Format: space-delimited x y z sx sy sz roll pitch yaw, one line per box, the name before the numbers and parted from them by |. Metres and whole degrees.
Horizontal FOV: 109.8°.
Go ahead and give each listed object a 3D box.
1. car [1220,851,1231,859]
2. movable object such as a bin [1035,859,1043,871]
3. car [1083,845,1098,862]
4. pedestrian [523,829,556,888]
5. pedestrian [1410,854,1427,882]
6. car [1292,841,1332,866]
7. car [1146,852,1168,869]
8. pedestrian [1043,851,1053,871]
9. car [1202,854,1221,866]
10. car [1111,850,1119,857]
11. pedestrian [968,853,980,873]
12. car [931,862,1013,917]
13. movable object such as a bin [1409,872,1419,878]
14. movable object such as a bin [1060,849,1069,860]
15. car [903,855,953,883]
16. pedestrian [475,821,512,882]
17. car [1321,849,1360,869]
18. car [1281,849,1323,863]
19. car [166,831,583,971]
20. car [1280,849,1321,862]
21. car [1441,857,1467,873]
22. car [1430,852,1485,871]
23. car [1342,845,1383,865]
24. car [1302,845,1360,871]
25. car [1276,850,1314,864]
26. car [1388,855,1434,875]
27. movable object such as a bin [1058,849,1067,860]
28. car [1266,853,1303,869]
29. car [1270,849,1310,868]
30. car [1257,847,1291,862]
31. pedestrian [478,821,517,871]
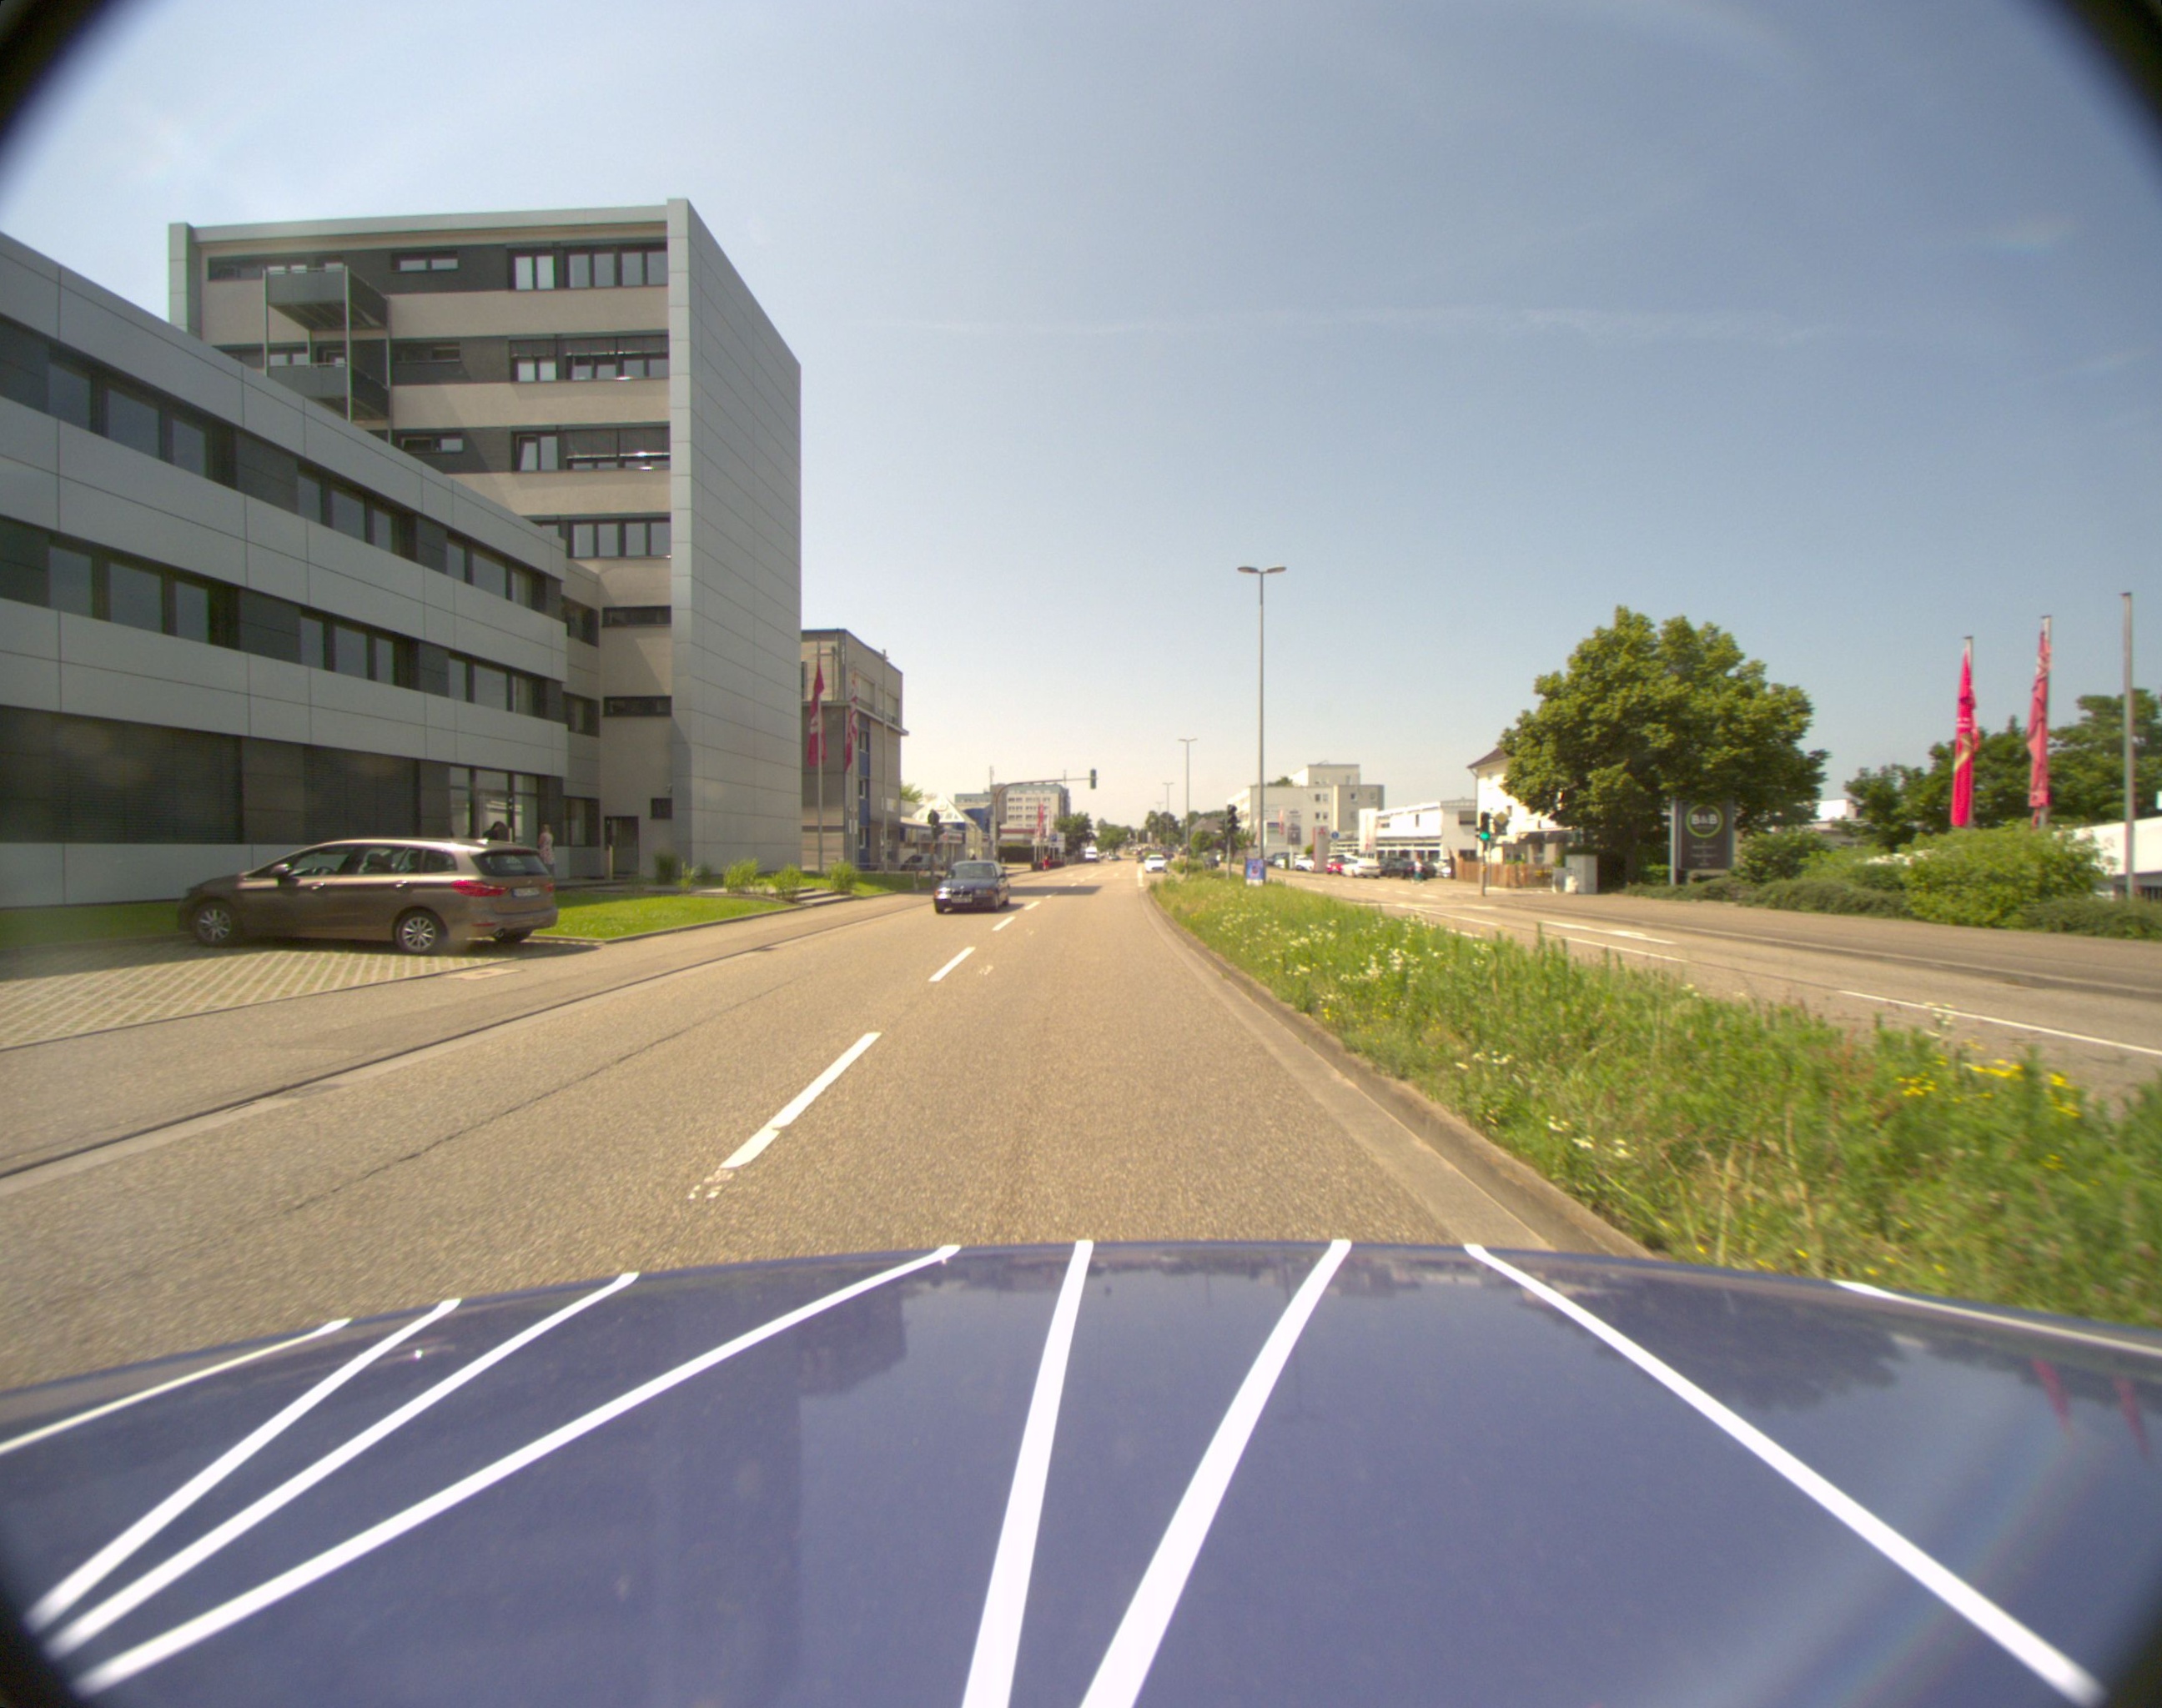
car | 27.664 0.247 145.577 1.695 1.440 3.666 0 0 3
movable object such as a bin | -3.516 0.918 64.056 0.552 0.914 0.653 3 1 5
car | 1.737 -0.117 136.732 2.182 2.758 7.279 2 1 4
pedestrian | -15.393 0.124 21.602 0.523 1.653 0.756 0 1 -13
pedestrian | 21.904 0.899 49.321 0.742 1.737 1.034 0 1 7
car | 23.785 -0.060 78.191 4.001 1.617 1.755 -18 11 -34
car | 6.323 0.523 63.439 1.692 1.426 3.712 0 0 5
pedestrian | -2.954 0.632 68.491 0.787 1.836 0.936 0 1 7
car | 16.874 0.792 98.694 1.998 1.477 4.502 0 1 4
car | 8.031 -0.131 181.080 1.866 1.550 4.001 0 0 4
pedestrian | -8.871 0.748 63.185 0.811 1.618 0.853 1 2 7
car | -2.955 0.937 21.335 1.632 1.331 3.757 -1 0 1
movable object such as a bin | 21.758 1.359 49.640 0.417 0.370 0.507 0 1 6
movable object such as a bin | -2.418 0.076 109.365 1.133 1.461 1.490 0 1 5
car | -9.191 0.877 45.995 1.848 1.522 4.198 -2 0 5
pedestrian | -15.767 -0.071 20.412 0.594 1.625 0.524 1 1 13
car | 22.624 0.422 66.103 1.834 1.633 4.187 1 1 39
car | 23.537 0.220 81.144 3.996 1.458 1.760 0 1 3
car | -10.193 0.616 11.249 4.270 1.679 1.999 3 1 0
car | 24.061 0.186 83.337 3.996 1.386 1.860 0 1 3
car | 32.081 0.945 65.349 1.646 1.244 4.008 1 1 31
car | 33.631 0.662 67.953 3.995 1.606 1.866 0 1 4
car | 21.161 0.073 57.303 1.779 1.402 4.761 2 1 6
car | 23.020 0.381 70.047 4.557 1.699 1.760 -9 0 2
car | 24.331 0.316 86.508 3.995 1.599 1.926 0 1 7
car | 24.273 0.803 55.954 1.736 1.343 4.000 0 0 2
movable object such as a bin | -2.574 0.091 107.690 1.133 1.461 1.490 0 1 5
car | 24.643 0.865 92.201 3.996 1.599 1.760 4 1 3
car | 24.439 0.560 89.023 3.996 1.559 1.760 9 1 3
car | 24.885 0.060 98.015 3.996 1.871 2.000 0 1 3
pedestrian | -16.509 -0.219 21.503 0.523 1.397 0.799 1 1 -6
